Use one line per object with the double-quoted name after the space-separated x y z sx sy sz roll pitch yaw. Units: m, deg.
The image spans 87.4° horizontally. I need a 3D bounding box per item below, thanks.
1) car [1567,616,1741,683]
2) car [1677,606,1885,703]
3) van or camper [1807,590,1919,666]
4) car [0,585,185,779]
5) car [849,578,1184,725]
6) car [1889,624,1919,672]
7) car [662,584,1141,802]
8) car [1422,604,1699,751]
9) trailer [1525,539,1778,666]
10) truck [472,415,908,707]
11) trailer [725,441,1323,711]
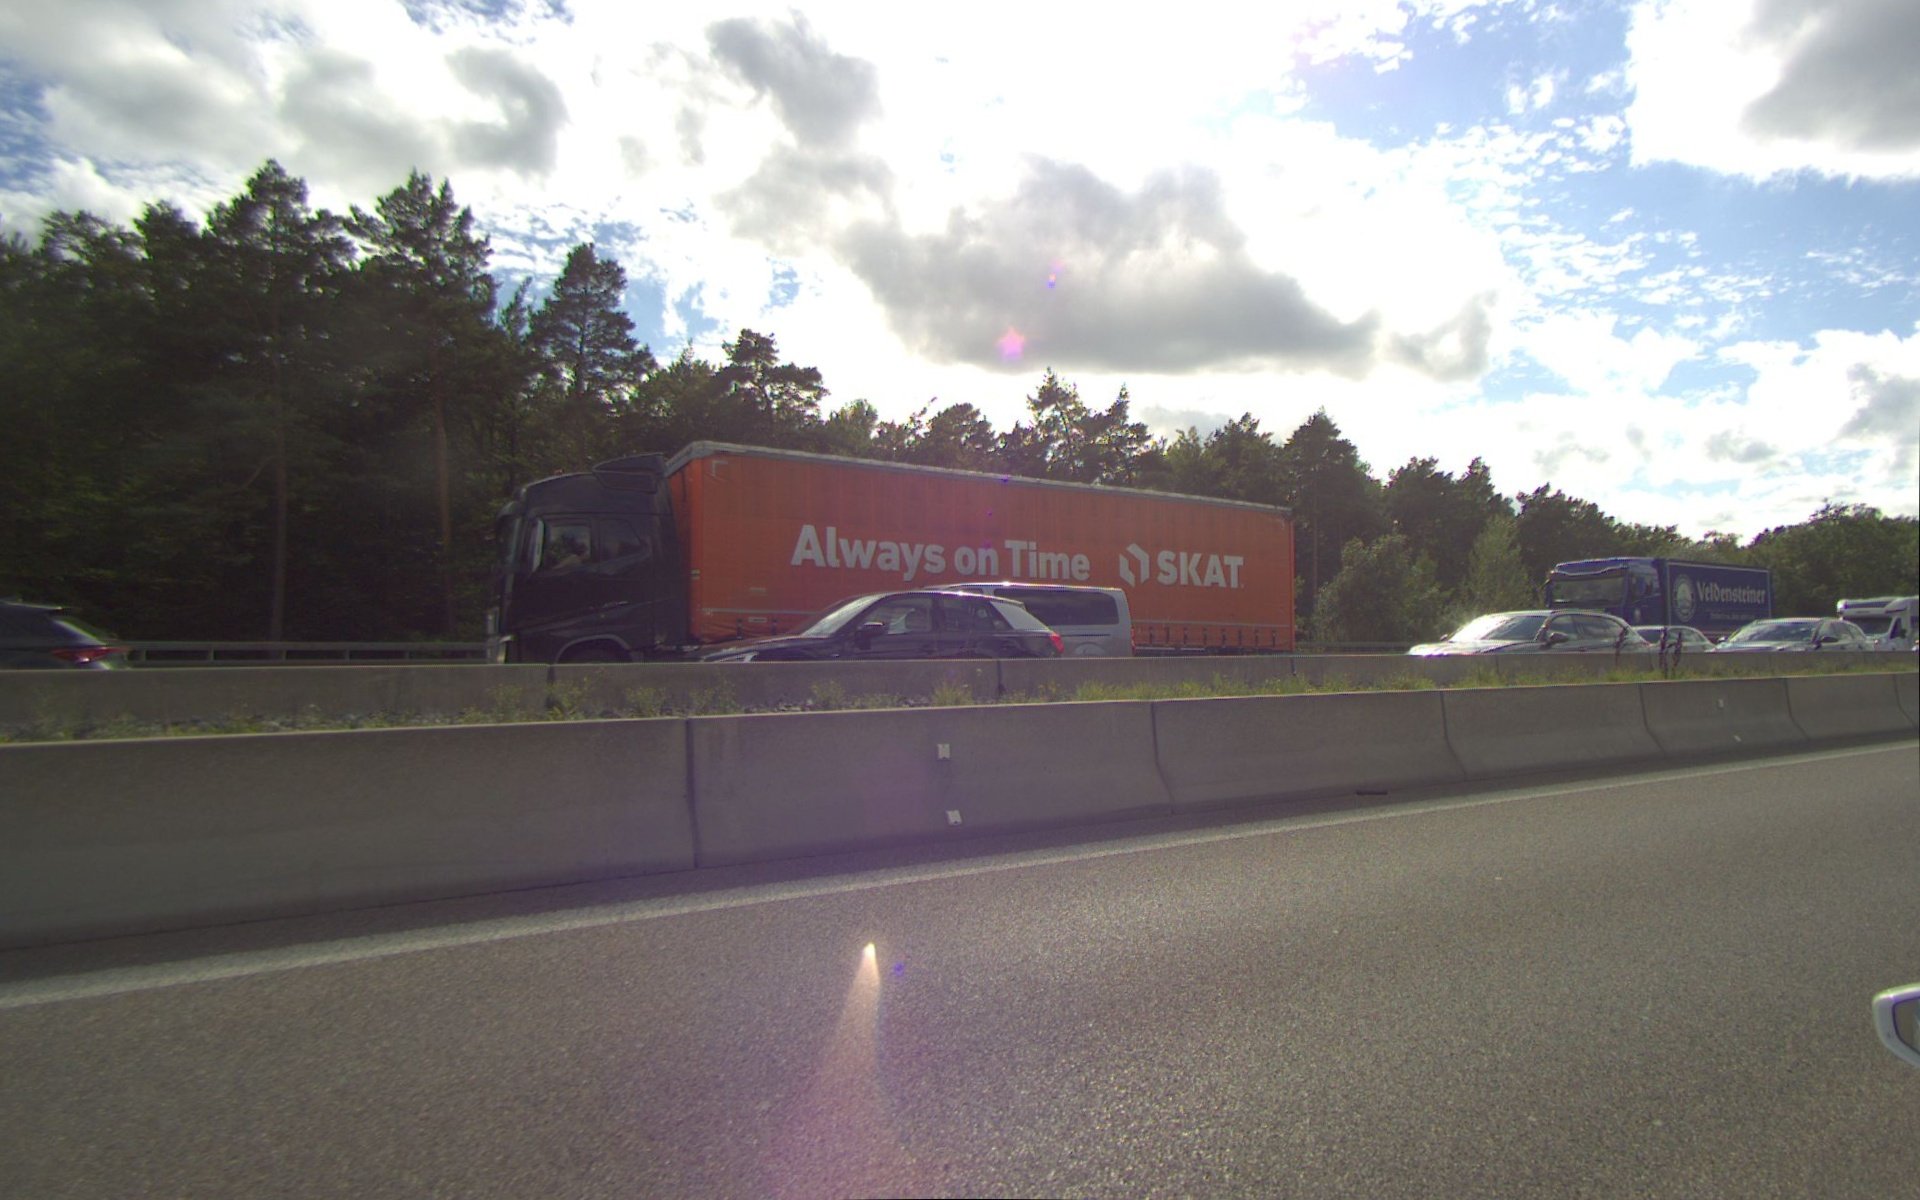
17.330 1.202 25.010 4.846 1.502 1.715 1 0 -31 "car"
16.726 1.050 20.416 4.576 1.787 1.808 1 0 -31 "car"
38.510 1.206 41.882 7.394 2.927 2.458 3 -1 -30 "van or camper"
-10.394 0.727 9.312 4.846 1.787 1.808 1 -1 -31 "car"
0.946 0.760 15.693 4.932 1.986 1.984 2 0 -30 "car"
35.998 1.771 36.745 4.222 1.682 1.823 1 0 -31 "car"
-0.520 0.860 10.785 4.846 1.907 1.808 1 -1 -31 "car"
9.635 1.155 16.015 4.628 2.040 1.735 2 0 -30 "car"
23.000 0.165 33.167 10.100 3.707 2.874 1 0 -30 "trailer"
-4.444 -0.482 16.965 6.639 4.125 2.602 1 0 -30 "truck"
1.968 -0.216 20.729 13.024 4.377 2.626 2 0 -30 "trailer"
